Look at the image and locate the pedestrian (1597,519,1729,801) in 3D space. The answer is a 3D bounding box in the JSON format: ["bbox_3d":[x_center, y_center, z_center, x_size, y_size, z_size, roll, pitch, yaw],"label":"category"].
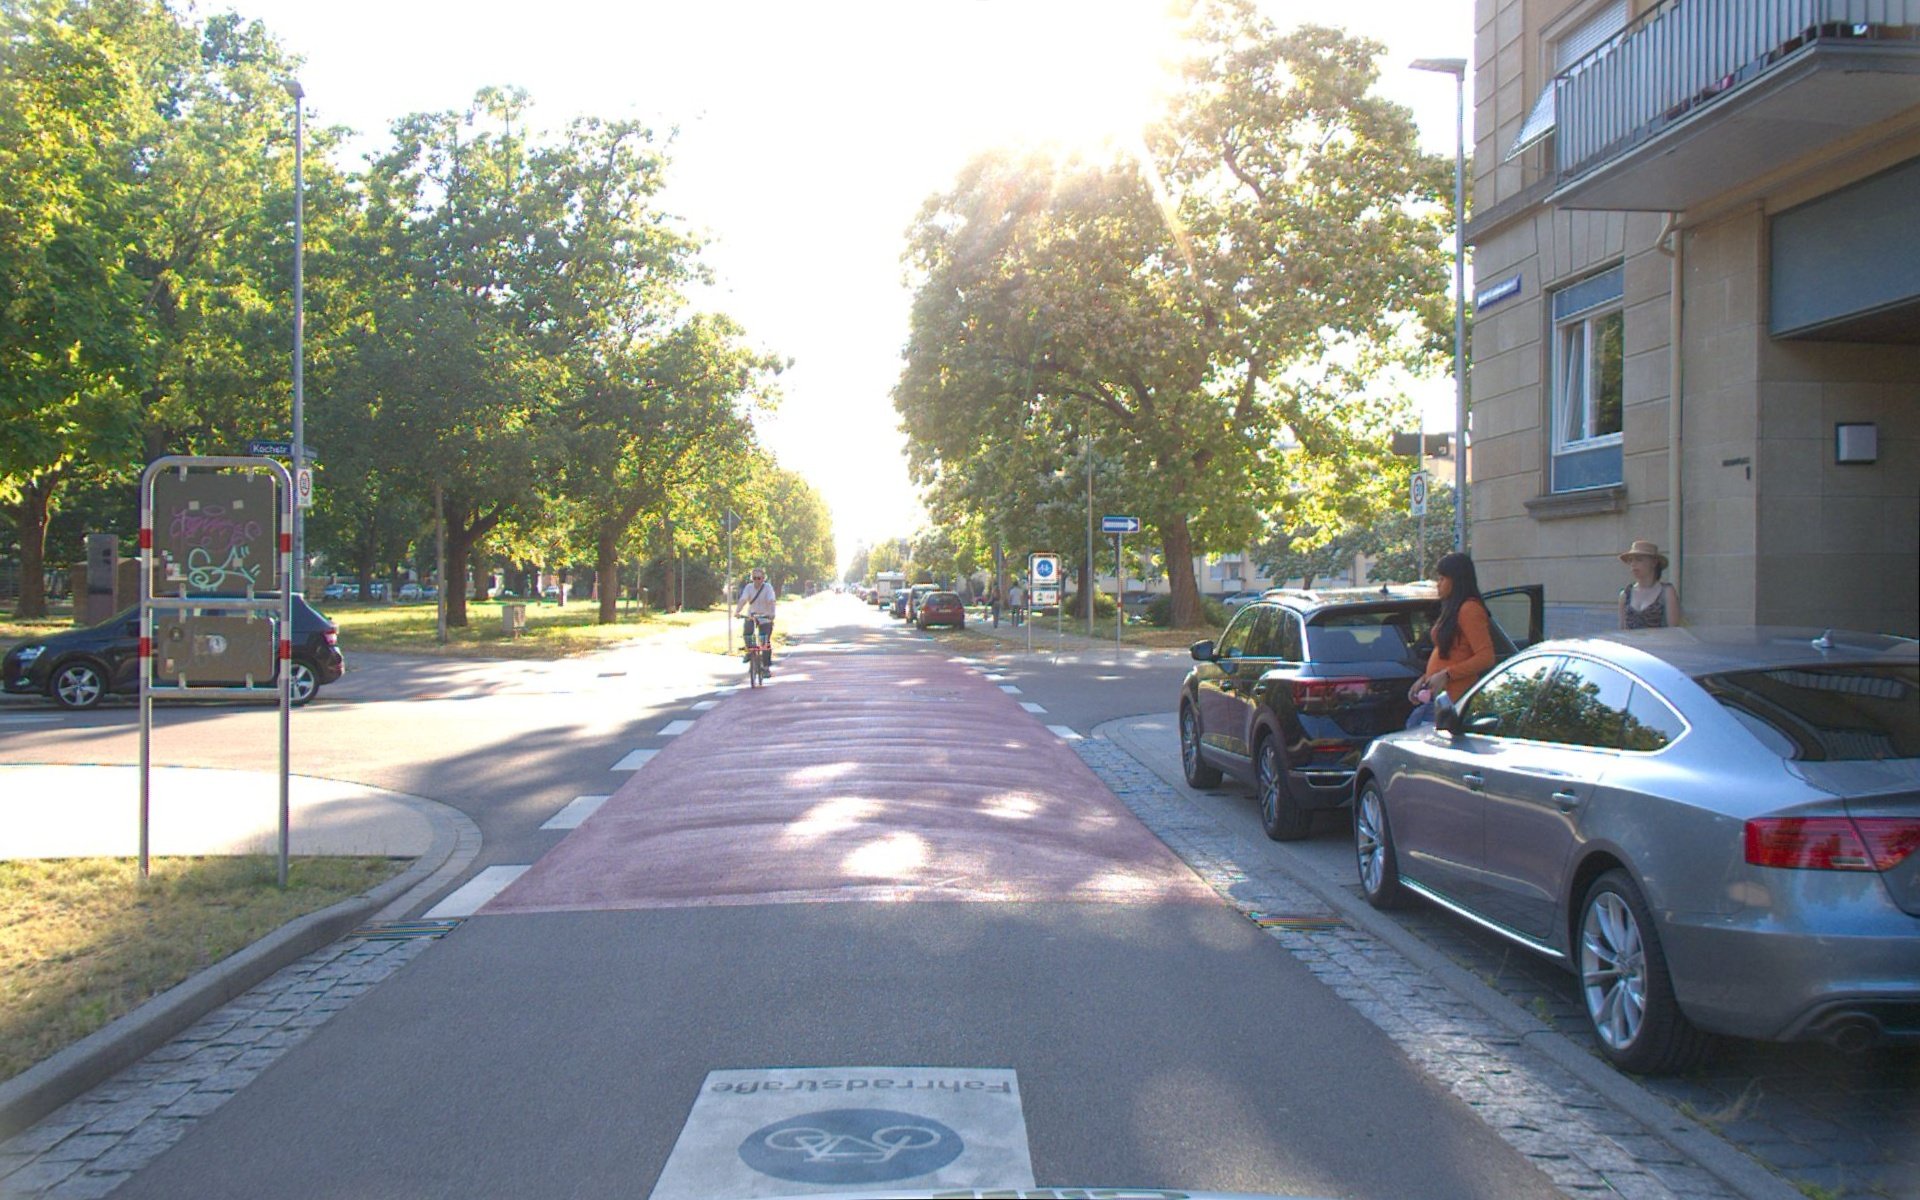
[{"bbox_3d":[4.832,0.389,11.367,0.725,1.862,0.548,0,1,-40],"label":"pedestrian"}]

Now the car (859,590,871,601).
[{"bbox_3d":[-13.062,-0.591,226.939,1.594,1.434,4.245,0,0,-5],"label":"car"}]

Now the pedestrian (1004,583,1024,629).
[{"bbox_3d":[2.101,0.230,64.542,0.711,1.766,0.731,1,0,-4],"label":"pedestrian"}]

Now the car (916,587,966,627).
[{"bbox_3d":[-0.797,0.259,65.396,1.645,1.512,4.805,0,0,-5],"label":"car"}]

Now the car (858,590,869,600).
[{"bbox_3d":[-13.893,-0.754,237.881,1.594,1.434,4.245,0,0,-5],"label":"car"}]

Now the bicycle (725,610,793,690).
[{"bbox_3d":[-3.100,0.756,25.692,0.722,1.155,2.105,0,0,2],"label":"bicycle"}]

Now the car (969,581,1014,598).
[{"bbox_3d":[2.915,-0.976,154.701,4.109,1.557,2.000,0,0,0],"label":"car"}]

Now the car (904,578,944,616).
[{"bbox_3d":[-1.734,-0.131,79.328,1.645,1.770,4.510,0,0,-5],"label":"car"}]

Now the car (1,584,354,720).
[{"bbox_3d":[-9.989,0.637,21.242,3.943,1.602,1.872,0,-1,-29],"label":"car"}]

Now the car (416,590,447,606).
[{"bbox_3d":[-52.550,-0.181,164.527,1.954,1.534,4.112,0,0,-3],"label":"car"}]

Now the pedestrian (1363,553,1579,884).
[{"bbox_3d":[2.885,0.642,9.413,0.934,1.800,0.778,1,0,-5],"label":"pedestrian"}]

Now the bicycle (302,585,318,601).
[{"bbox_3d":[-52.045,-0.556,132.426,0.644,1.196,2.330,0,0,-7],"label":"bicycle"}]

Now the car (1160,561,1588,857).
[{"bbox_3d":[2.696,0.581,11.857,1.669,1.654,4.345,-2,2,-4],"label":"car"}]

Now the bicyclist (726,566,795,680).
[{"bbox_3d":[-3.094,0.345,25.731,0.918,1.732,0.906,0,0,2],"label":"bicyclist"}]

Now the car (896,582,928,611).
[{"bbox_3d":[-2.781,-0.213,94.701,1.697,1.578,4.273,0,0,-3],"label":"car"}]

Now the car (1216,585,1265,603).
[{"bbox_3d":[24.359,-0.528,143.749,3.906,1.579,1.610,0,0,23],"label":"car"}]

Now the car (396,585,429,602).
[{"bbox_3d":[-51.490,-0.628,155.530,1.954,1.534,4.112,0,0,-3],"label":"car"}]

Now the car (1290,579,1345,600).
[{"bbox_3d":[31.710,-0.920,146.713,4.428,1.776,1.876,0,0,31],"label":"car"}]

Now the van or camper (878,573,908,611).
[{"bbox_3d":[-5.393,-0.604,132.086,2.190,2.955,5.667,0,-1,-5],"label":"van or camper"}]

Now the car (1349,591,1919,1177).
[{"bbox_3d":[2.941,0.725,6.473,1.669,1.445,4.347,-2,0,-2],"label":"car"}]

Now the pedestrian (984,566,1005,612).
[{"bbox_3d":[1.335,-0.426,64.480,0.738,1.766,0.731,1,0,-4],"label":"pedestrian"}]

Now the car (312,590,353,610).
[{"bbox_3d":[-50.836,0.004,133.986,1.954,1.534,3.997,0,0,-3],"label":"car"}]

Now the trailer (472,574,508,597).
[{"bbox_3d":[-53.925,-1.617,189.872,2.410,2.532,7.045,0,0,-3],"label":"trailer"}]

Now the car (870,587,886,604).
[{"bbox_3d":[-8.605,-0.490,173.183,1.594,1.698,4.245,0,0,-5],"label":"car"}]

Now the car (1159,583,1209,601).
[{"bbox_3d":[20.585,-0.750,151.965,4.415,1.597,1.882,0,0,15],"label":"car"}]
